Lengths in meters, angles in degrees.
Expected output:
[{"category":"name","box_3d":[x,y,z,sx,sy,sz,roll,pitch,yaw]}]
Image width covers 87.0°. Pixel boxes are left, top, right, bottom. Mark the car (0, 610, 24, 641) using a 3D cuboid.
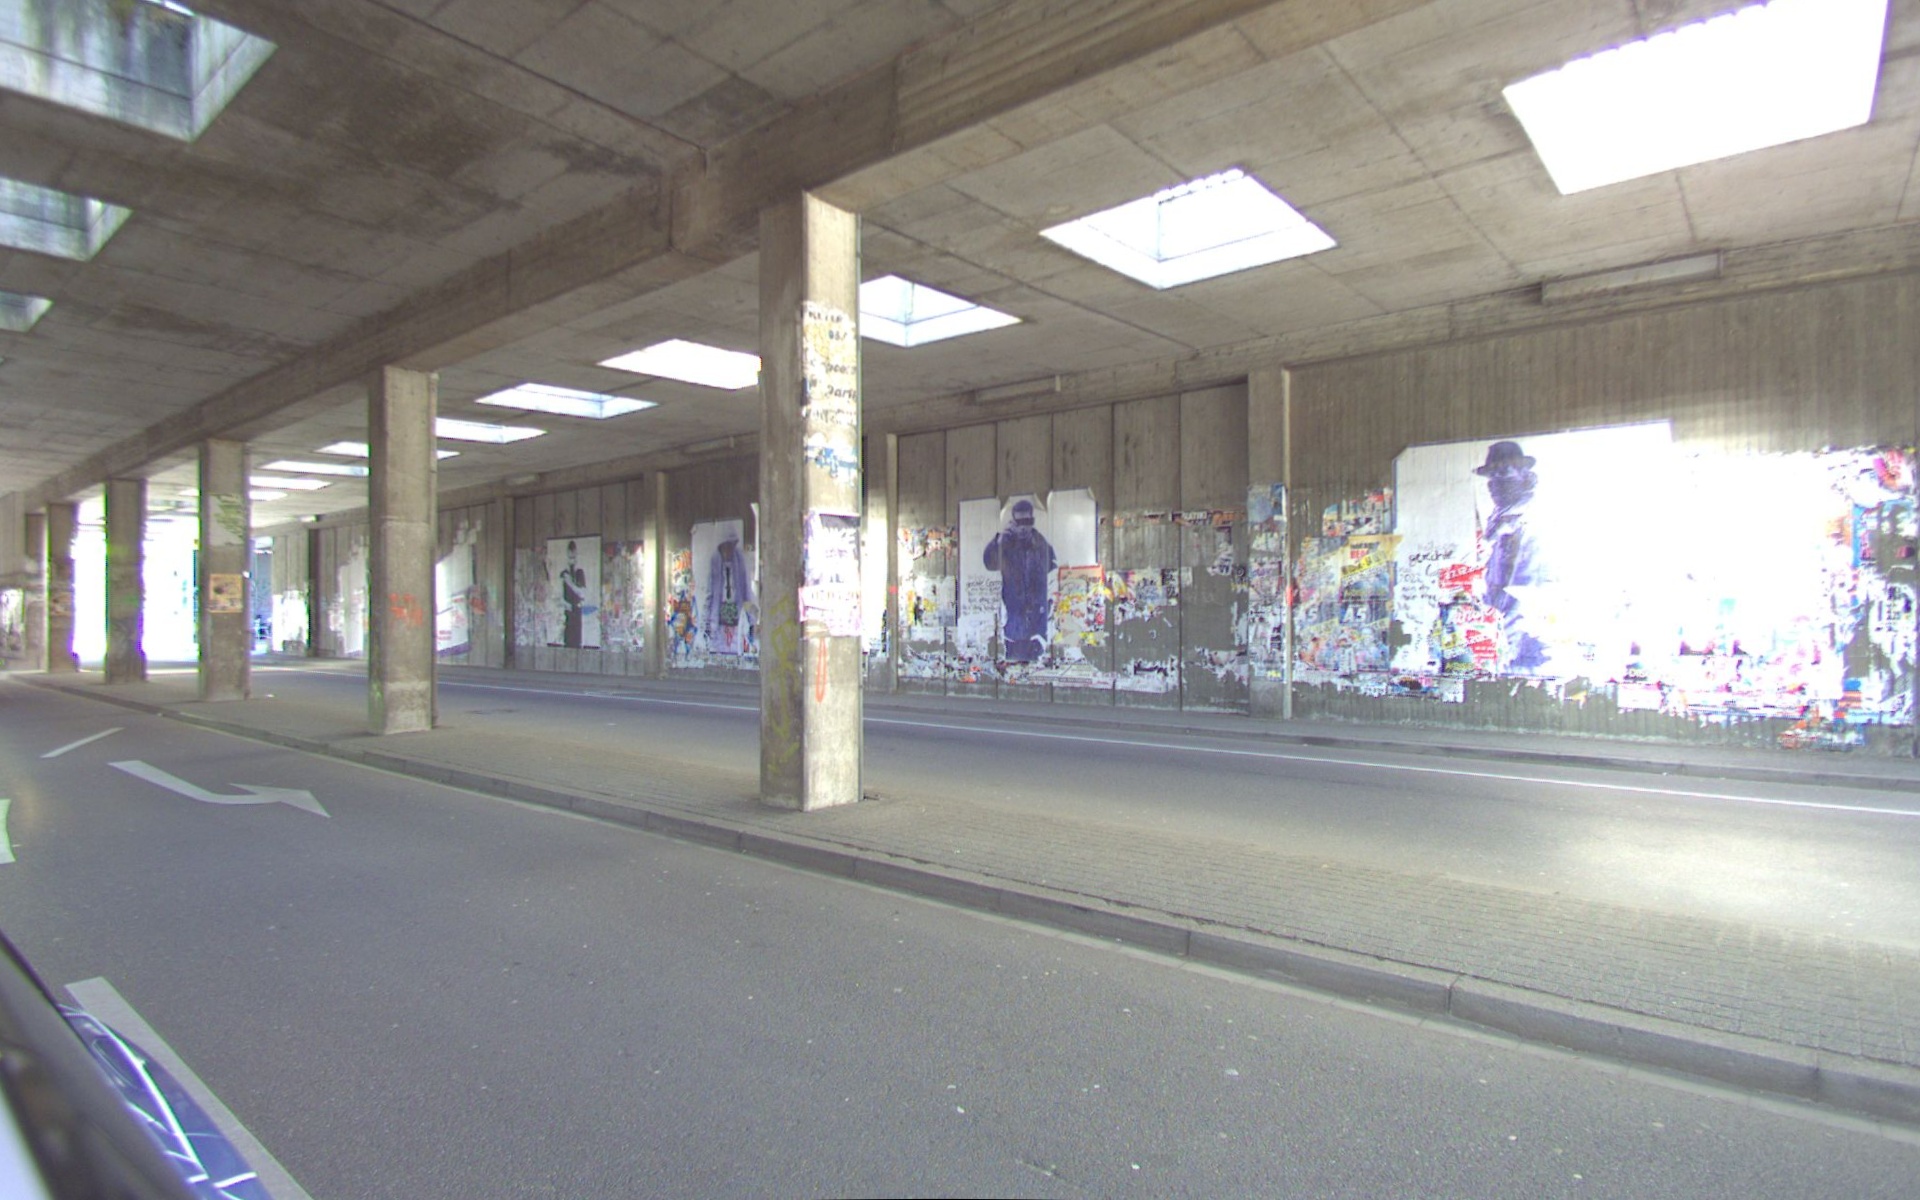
[{"category":"car","box_3d":[-57.376,1.502,57.117,1.997,1.763,6.458,-1,0,38]}]
